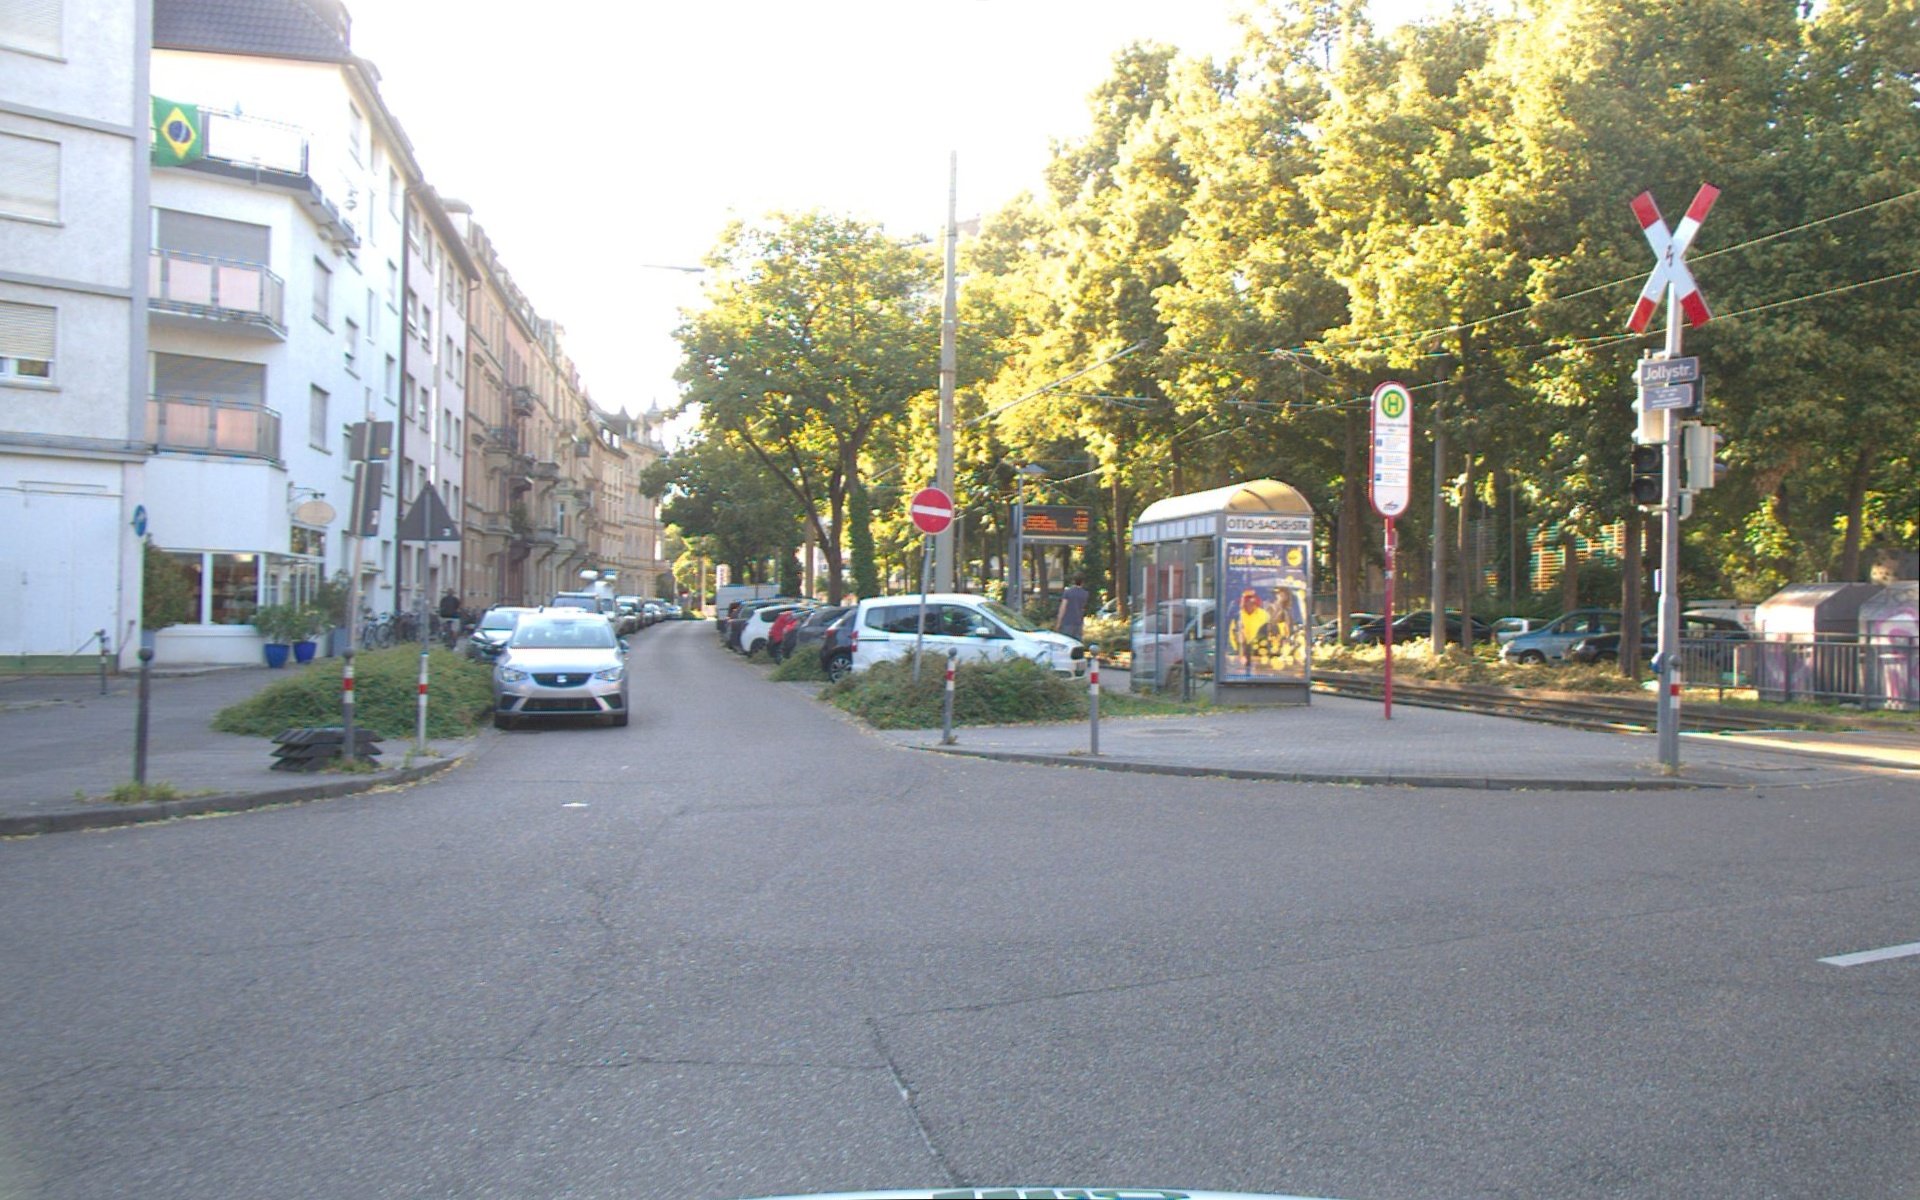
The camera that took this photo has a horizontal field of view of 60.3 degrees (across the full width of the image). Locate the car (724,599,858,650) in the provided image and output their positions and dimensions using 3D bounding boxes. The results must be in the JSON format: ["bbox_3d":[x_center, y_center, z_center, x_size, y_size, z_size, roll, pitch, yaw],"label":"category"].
[{"bbox_3d":[-5.834,0.843,57.107,4.139,1.498,1.859,-3,0,18],"label":"car"}]

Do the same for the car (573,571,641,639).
[{"bbox_3d":[-16.057,0.208,75.495,2.504,2.938,5.472,0,0,-7],"label":"car"}]

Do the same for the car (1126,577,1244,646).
[{"bbox_3d":[9.199,0.476,67.562,4.394,2.519,1.819,3,-2,21],"label":"car"}]

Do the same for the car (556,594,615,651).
[{"bbox_3d":[-13.502,0.784,59.769,1.678,1.966,3.994,0,0,-7],"label":"car"}]

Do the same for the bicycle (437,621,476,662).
[{"bbox_3d":[-13.784,1.133,45.346,0.698,1.069,2.342,0,0,-9],"label":"bicycle"}]

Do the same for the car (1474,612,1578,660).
[{"bbox_3d":[18.513,1.168,54.245,1.544,1.493,3.588,1,0,-13],"label":"car"}]

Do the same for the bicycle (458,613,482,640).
[{"bbox_3d":[-18.962,1.021,64.030,0.615,1.021,2.170,1,0,-10],"label":"bicycle"}]

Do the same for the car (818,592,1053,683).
[{"bbox_3d":[-0.445,0.707,31.559,4.103,1.461,1.702,-3,0,15],"label":"car"}]

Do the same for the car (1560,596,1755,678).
[{"bbox_3d":[14.735,0.764,35.114,3.531,1.472,1.609,3,0,13],"label":"car"}]

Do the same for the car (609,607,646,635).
[{"bbox_3d":[-18.226,1.149,90.765,1.678,1.471,3.993,0,0,-8],"label":"car"}]

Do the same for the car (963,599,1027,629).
[{"bbox_3d":[2.466,0.981,115.735,3.995,1.820,1.819,3,-2,21],"label":"car"}]

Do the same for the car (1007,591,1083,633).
[{"bbox_3d":[5.009,0.710,97.576,3.995,2.249,1.819,3,-2,21],"label":"car"}]

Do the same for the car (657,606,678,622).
[{"bbox_3d":[-27.495,1.282,155.510,1.677,1.471,3.996,0,0,-5],"label":"car"}]

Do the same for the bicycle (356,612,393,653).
[{"bbox_3d":[-15.362,0.842,43.413,0.521,1.021,2.171,1,0,-9],"label":"bicycle"}]

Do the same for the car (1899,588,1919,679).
[{"bbox_3d":[22.953,0.755,35.674,1.914,2.038,4.636,1,0,-18],"label":"car"}]

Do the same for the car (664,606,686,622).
[{"bbox_3d":[-27.733,1.355,160.934,1.676,1.471,3.997,0,0,-3],"label":"car"}]

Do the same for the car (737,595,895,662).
[{"bbox_3d":[-4.171,0.819,47.926,4.145,1.680,1.856,-3,0,26],"label":"car"}]

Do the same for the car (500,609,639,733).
[{"bbox_3d":[-5.334,0.887,22.521,1.682,1.471,3.985,0,0,-14],"label":"car"}]

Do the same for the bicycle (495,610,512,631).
[{"bbox_3d":[-22.581,1.016,81.788,0.615,1.021,2.170,1,0,-10],"label":"bicycle"}]

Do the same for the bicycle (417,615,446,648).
[{"bbox_3d":[-17.186,1.005,53.792,0.615,1.021,2.170,1,0,-10],"label":"bicycle"}]

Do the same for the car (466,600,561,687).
[{"bbox_3d":[-9.337,0.855,34.812,1.680,1.702,3.988,0,0,-12],"label":"car"}]

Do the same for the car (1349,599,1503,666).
[{"bbox_3d":[12.411,0.881,44.220,3.736,1.523,1.739,3,-2,10],"label":"car"}]

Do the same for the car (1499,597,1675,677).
[{"bbox_3d":[14.337,0.835,37.974,3.531,1.589,1.609,3,0,14],"label":"car"}]

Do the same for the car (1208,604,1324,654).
[{"bbox_3d":[10.264,0.976,55.642,3.736,1.446,1.739,3,-2,10],"label":"car"}]

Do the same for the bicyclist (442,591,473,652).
[{"bbox_3d":[-13.785,0.581,45.353,0.699,1.645,0.722,1,0,-10],"label":"bicyclist"}]

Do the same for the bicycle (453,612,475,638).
[{"bbox_3d":[-19.852,1.001,66.235,0.615,1.021,2.170,1,0,-10],"label":"bicycle"}]

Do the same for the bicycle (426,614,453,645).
[{"bbox_3d":[-17.988,1.008,57.232,0.615,1.021,2.170,1,0,-10],"label":"bicycle"}]

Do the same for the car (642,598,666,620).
[{"bbox_3d":[-26.882,0.798,145.513,1.677,1.852,3.995,0,0,-5],"label":"car"}]

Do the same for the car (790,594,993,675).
[{"bbox_3d":[-1.511,0.755,36.776,4.138,1.534,1.609,-3,0,15],"label":"car"}]

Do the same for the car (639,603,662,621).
[{"bbox_3d":[-25.625,0.972,137.017,1.678,1.471,3.994,0,0,-7],"label":"car"}]

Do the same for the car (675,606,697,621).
[{"bbox_3d":[-27.495,1.318,165.939,1.676,1.471,3.999,0,0,-2],"label":"car"}]

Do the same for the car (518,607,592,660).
[{"bbox_3d":[-12.075,0.981,49.503,1.678,1.471,3.994,0,0,-7],"label":"car"}]

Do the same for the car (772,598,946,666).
[{"bbox_3d":[-2.589,0.829,42.658,4.138,1.484,1.609,-3,0,15],"label":"car"}]

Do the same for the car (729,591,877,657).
[{"bbox_3d":[-4.847,0.740,51.056,4.145,1.779,1.856,-3,0,26],"label":"car"}]

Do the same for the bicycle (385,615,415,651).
[{"bbox_3d":[-16.855,0.982,49.823,0.522,1.021,2.170,1,0,-10],"label":"bicycle"}]

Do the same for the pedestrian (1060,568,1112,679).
[{"bbox_3d":[2.251,0.412,29.499,0.830,1.944,0.838,0,0,10],"label":"pedestrian"}]

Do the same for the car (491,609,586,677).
[{"bbox_3d":[-9.910,0.969,39.153,1.678,1.471,3.994,0,0,-7],"label":"car"}]

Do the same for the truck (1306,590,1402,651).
[{"bbox_3d":[15.998,0.831,67.423,2.323,2.393,4.374,1,0,-9],"label":"truck"}]

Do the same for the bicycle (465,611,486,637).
[{"bbox_3d":[-20.270,1.003,69.248,0.615,1.021,2.170,1,0,-10],"label":"bicycle"}]

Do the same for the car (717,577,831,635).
[{"bbox_3d":[-9.361,0.296,83.431,5.142,2.616,2.274,-3,0,18],"label":"car"}]

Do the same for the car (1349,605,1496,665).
[{"bbox_3d":[12.963,0.990,46.541,3.736,1.415,1.739,3,-2,10],"label":"car"}]

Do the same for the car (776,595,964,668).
[{"bbox_3d":[-2.149,0.759,39.745,4.138,1.484,1.609,-3,0,15],"label":"car"}]

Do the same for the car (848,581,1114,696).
[{"bbox_3d":[0.353,0.655,28.097,4.140,1.681,1.608,-3,0,21],"label":"car"}]

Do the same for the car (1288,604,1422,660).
[{"bbox_3d":[11.862,0.972,49.850,3.736,1.415,1.739,3,-2,10],"label":"car"}]

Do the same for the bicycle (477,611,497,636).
[{"bbox_3d":[-20.701,1.019,72.423,0.615,1.021,2.170,1,0,-10],"label":"bicycle"}]

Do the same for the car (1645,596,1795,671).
[{"bbox_3d":[20.416,0.870,44.600,1.545,1.937,3.886,1,0,-15],"label":"car"}]
